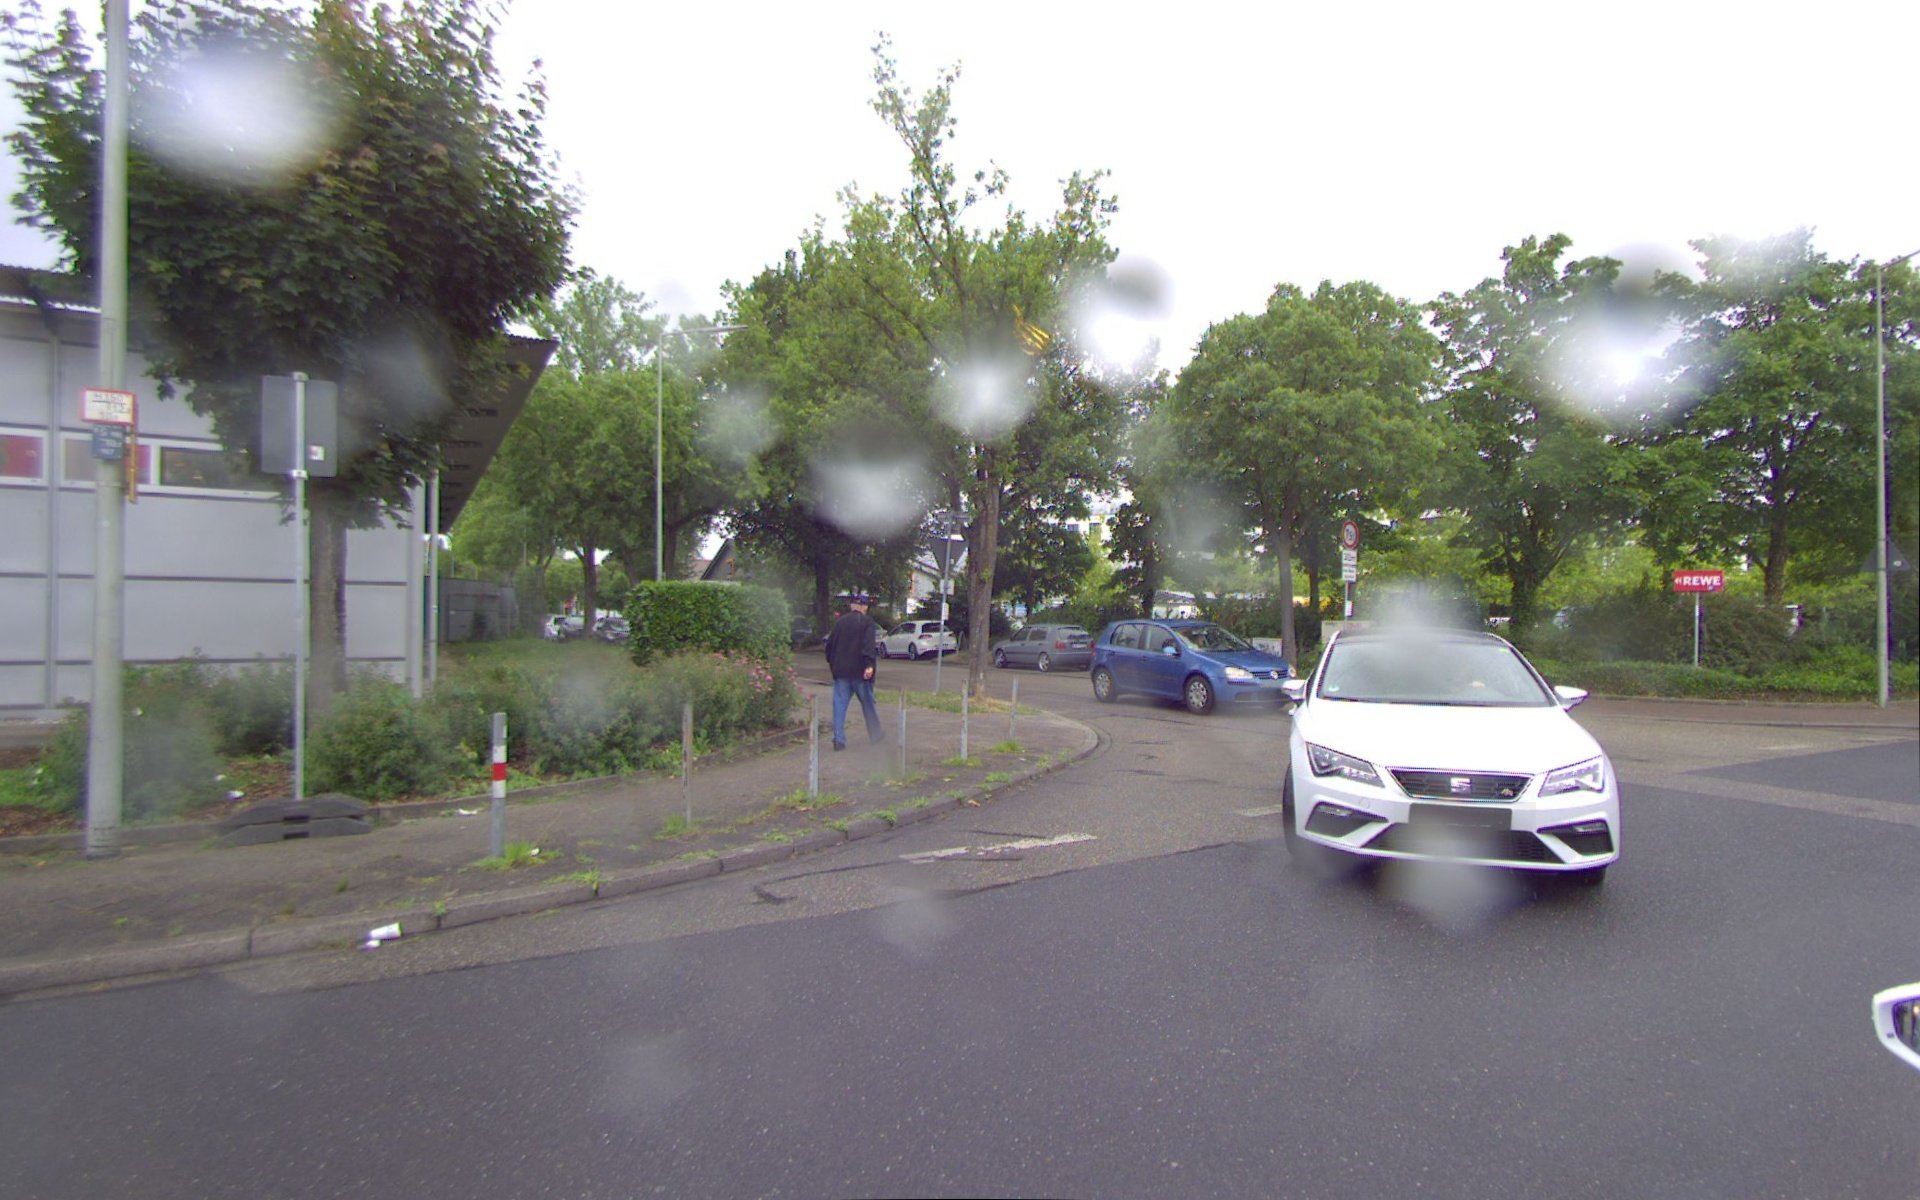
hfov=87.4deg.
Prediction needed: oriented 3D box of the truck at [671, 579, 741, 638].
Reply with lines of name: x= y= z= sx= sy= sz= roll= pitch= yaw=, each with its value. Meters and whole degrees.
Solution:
truck: x=-16.276 y=0.576 z=64.075 sx=2.572 sy=3.515 sz=6.761 roll=1 pitch=-1 yaw=-30

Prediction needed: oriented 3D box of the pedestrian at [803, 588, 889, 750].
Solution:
pedestrian: x=-1.224 y=0.728 z=10.954 sx=0.743 sy=1.696 sz=0.783 roll=0 pitch=-1 yaw=8

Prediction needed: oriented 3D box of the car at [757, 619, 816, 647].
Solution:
car: x=-8.846 y=1.675 z=51.102 sx=1.715 sy=1.401 sz=4.066 roll=1 pitch=-2 yaw=-29

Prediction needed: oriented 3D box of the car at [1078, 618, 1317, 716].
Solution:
car: x=3.871 y=1.054 z=17.027 sx=1.715 sy=1.460 sz=3.969 roll=1 pitch=-2 yaw=-29

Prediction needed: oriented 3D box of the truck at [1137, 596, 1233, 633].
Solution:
truck: x=13.705 y=0.915 z=60.969 sx=6.066 sy=2.087 sz=1.983 roll=1 pitch=-1 yaw=-32

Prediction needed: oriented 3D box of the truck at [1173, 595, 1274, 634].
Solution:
truck: x=15.145 y=0.878 z=57.639 sx=6.065 sy=2.122 sz=1.983 roll=1 pitch=-1 yaw=-32

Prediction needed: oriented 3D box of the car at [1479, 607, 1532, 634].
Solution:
car: x=44.235 y=1.684 z=81.450 sx=3.951 sy=2.040 sz=1.985 roll=2 pitch=-1 yaw=-29

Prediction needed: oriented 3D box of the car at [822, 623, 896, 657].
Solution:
car: x=-4.407 y=1.697 z=43.379 sx=1.715 sy=1.401 sz=4.066 roll=1 pitch=-2 yaw=-29

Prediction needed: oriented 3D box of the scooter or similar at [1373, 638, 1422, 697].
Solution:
scooter or similar: x=8.981 y=1.373 z=20.609 sx=1.045 sy=1.191 sz=0.283 roll=1 pitch=-1 yaw=-23

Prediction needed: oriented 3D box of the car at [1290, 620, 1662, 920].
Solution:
car: x=3.309 y=0.889 z=7.070 sx=1.702 sy=1.460 sz=4.000 roll=-1 pitch=-2 yaw=20

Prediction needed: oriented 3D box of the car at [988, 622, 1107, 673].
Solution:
car: x=2.617 y=1.417 z=30.930 sx=1.715 sy=1.460 sz=3.969 roll=1 pitch=-2 yaw=-29

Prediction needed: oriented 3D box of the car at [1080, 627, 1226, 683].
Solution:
car: x=5.077 y=1.422 z=26.895 sx=1.715 sy=1.381 sz=3.969 roll=1 pitch=-2 yaw=-29

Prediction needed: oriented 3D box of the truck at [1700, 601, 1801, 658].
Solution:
truck: x=40.908 y=1.519 z=51.937 sx=6.392 sy=2.789 sz=1.984 roll=1 pitch=-1 yaw=-31

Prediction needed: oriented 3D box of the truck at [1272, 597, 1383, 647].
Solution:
truck: x=20.014 y=1.213 z=54.589 sx=6.316 sy=2.636 sz=1.986 roll=1 pitch=-1 yaw=-28

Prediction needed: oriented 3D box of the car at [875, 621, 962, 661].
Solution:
car: x=-1.651 y=1.547 z=38.581 sx=1.715 sy=1.460 sz=3.969 roll=1 pitch=-2 yaw=-29
